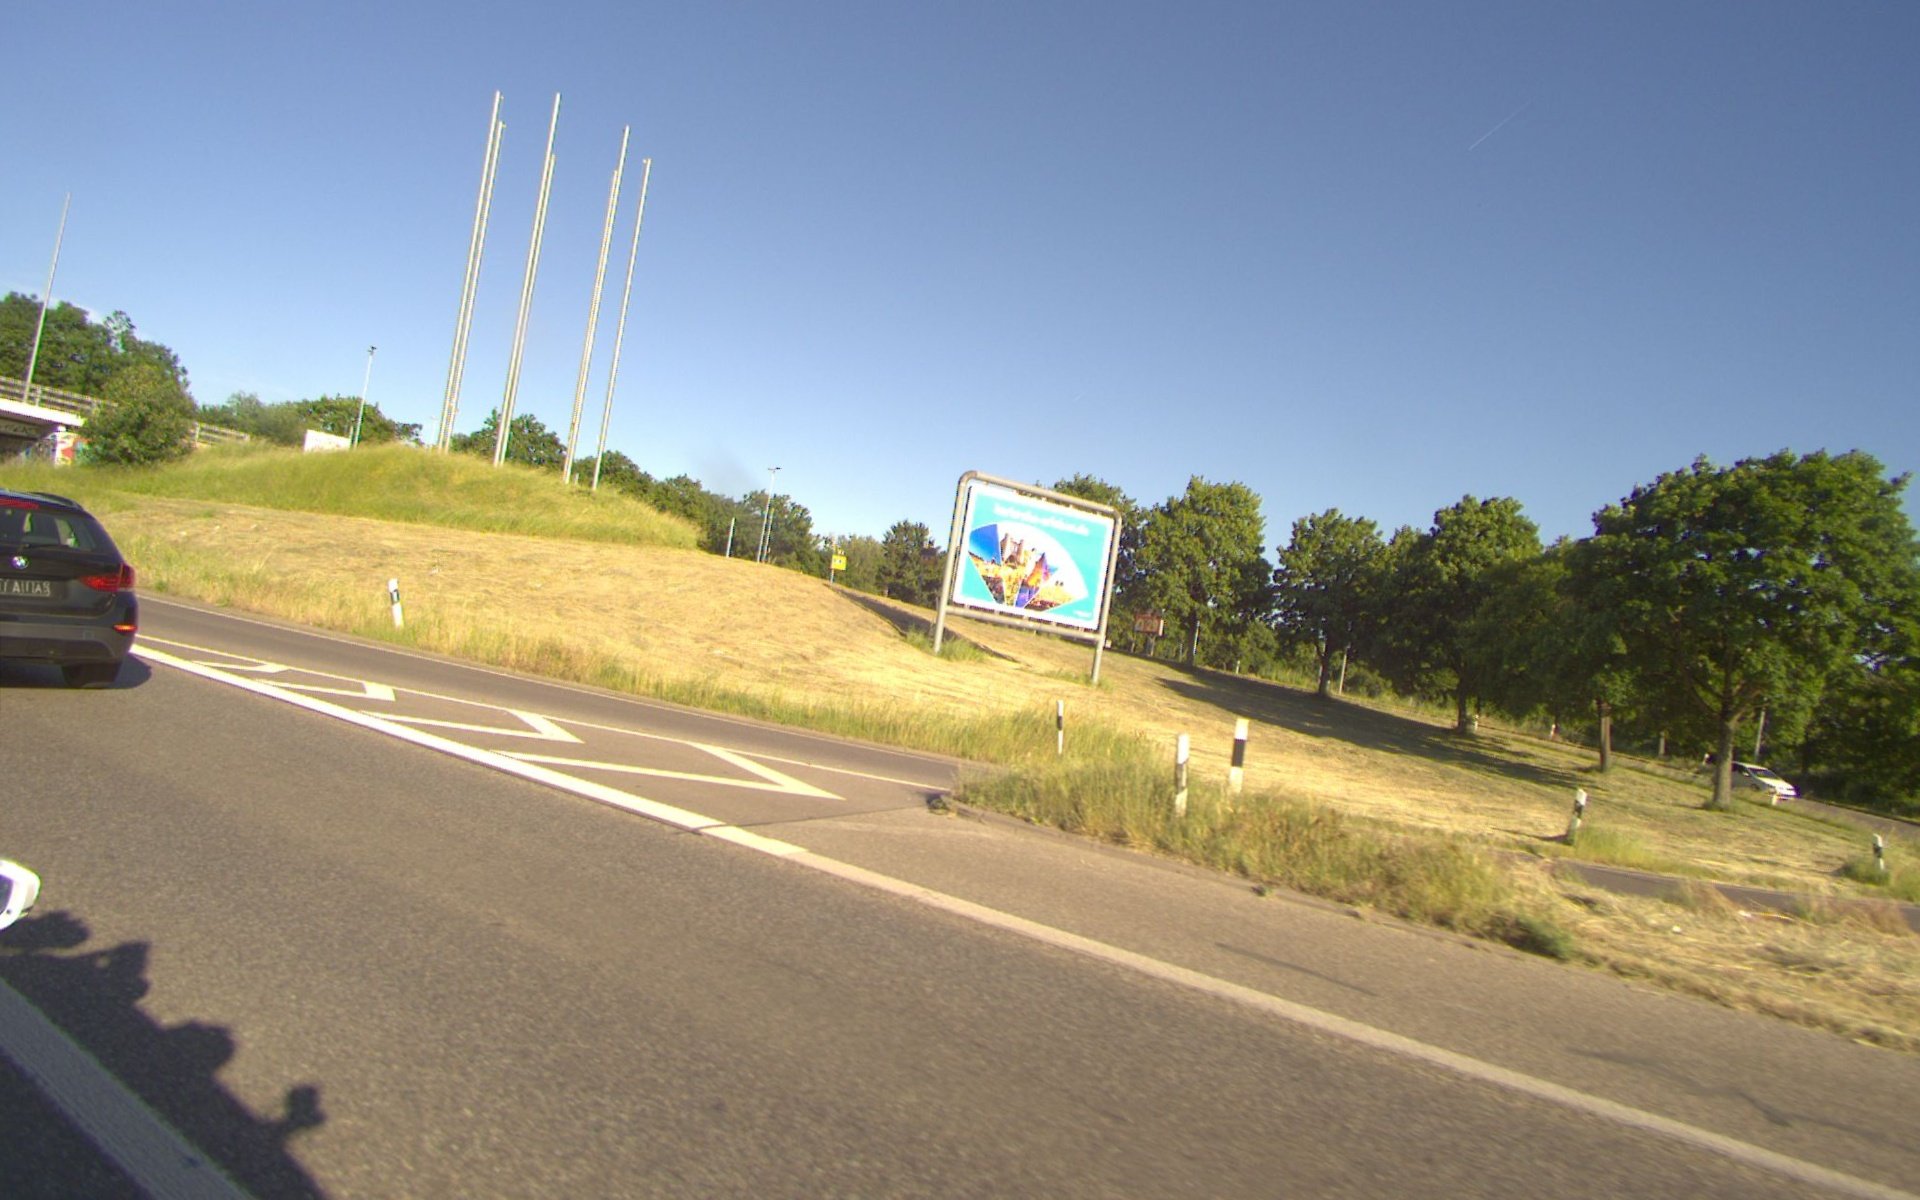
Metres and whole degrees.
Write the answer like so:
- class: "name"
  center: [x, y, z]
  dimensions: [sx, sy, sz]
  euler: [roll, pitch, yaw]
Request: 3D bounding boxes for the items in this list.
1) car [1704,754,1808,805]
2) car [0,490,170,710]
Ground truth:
- class: "car"
  center: [39.661, 8.914, 50.245]
  dimensions: [1.834, 1.711, 4.002]
  euler: [8, -1, 1]
- class: "car"
  center: [-8.620, -0.226, 8.263]
  dimensions: [4.501, 1.524, 1.702]
  euler: [7, 0, 30]
